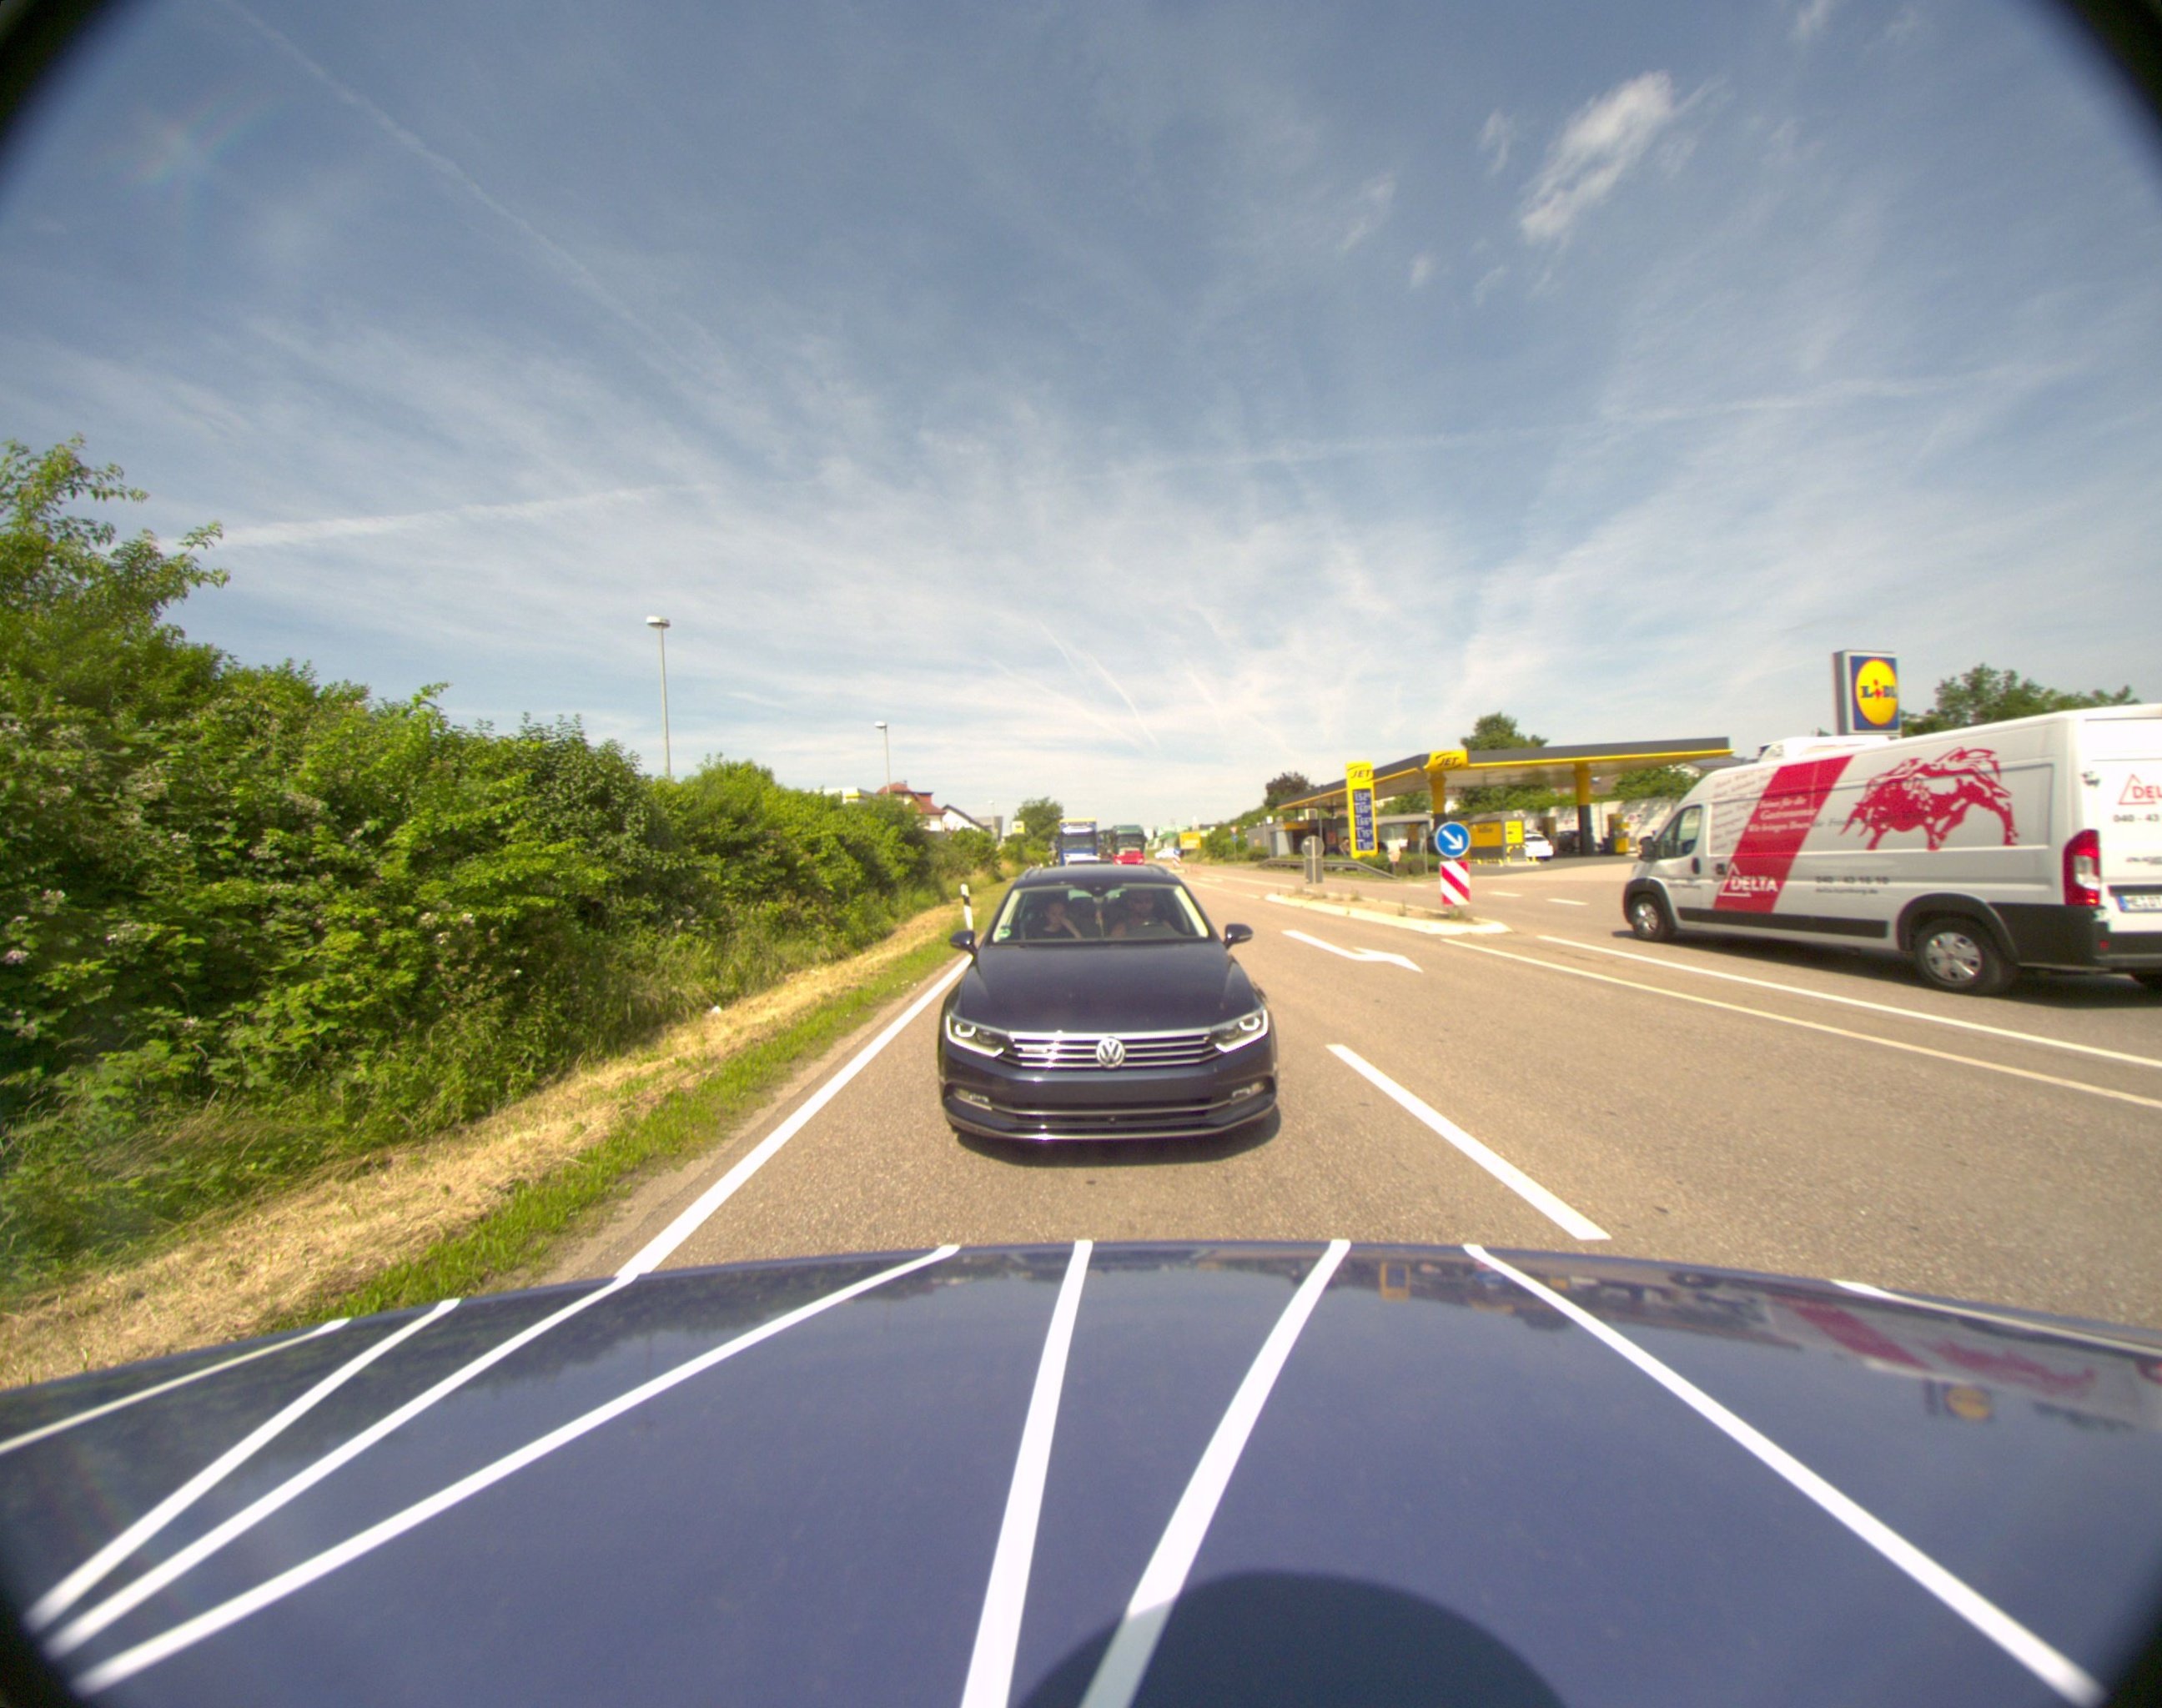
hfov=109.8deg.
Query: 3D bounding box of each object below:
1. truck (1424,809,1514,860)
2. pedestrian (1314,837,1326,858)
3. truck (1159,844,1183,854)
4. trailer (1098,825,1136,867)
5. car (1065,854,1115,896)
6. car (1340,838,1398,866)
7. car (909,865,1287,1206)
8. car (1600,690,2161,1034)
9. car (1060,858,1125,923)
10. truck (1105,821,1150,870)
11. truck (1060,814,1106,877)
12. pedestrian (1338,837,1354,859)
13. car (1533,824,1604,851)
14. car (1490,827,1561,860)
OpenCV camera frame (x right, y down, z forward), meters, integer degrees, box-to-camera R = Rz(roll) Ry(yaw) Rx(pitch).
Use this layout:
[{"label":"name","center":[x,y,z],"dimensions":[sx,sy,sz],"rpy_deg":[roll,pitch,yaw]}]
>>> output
[{"label":"truck","center":[23.840,-1.170,47.010],"dimensions":[2.250,2.906,6.282],"rpy_deg":[-2,1,-1]},{"label":"pedestrian","center":[21.103,-0.571,66.981],"dimensions":[0.798,1.827,0.640],"rpy_deg":[-3,1,1]},{"label":"truck","center":[19.279,-1.097,162.525],"dimensions":[4.771,1.997,2.000],"rpy_deg":[-3,1,1]},{"label":"trailer","center":[3.510,-0.775,76.845],"dimensions":[2.809,3.897,8.666],"rpy_deg":[-2,0,-3]},{"label":"car","center":[0.370,0.781,30.445],"dimensions":[1.814,1.466,3.974],"rpy_deg":[-2,0,1]},{"label":"car","center":[19.026,-0.120,50.396],"dimensions":[1.999,1.696,4.263],"rpy_deg":[-2,0,-3]},{"label":"car","center":[0.118,0.907,6.087],"dimensions":[1.756,1.493,4.925],"rpy_deg":[-2,0,1]},{"label":"car","center":[9.039,0.030,8.828],"dimensions":[2.122,2.639,5.987],"rpy_deg":[-2,0,3]},{"label":"car","center":[0.298,0.866,19.796],"dimensions":[1.471,1.451,3.797],"rpy_deg":[-2,0,1]},{"label":"truck","center":[3.979,-0.719,67.518],"dimensions":[2.675,3.897,10.046],"rpy_deg":[-2,0,-3]},{"label":"truck","center":[0.212,-0.575,56.064],"dimensions":[2.855,3.999,12.916],"rpy_deg":[-2,0,1]},{"label":"pedestrian","center":[17.677,-0.393,50.675],"dimensions":[0.914,1.419,0.494],"rpy_deg":[-2,1,4]},{"label":"car","center":[32.182,-1.076,50.316],"dimensions":[1.753,1.603,3.873],"rpy_deg":[-2,0,-10]},{"label":"car","center":[24.232,-0.560,41.618],"dimensions":[1.736,1.718,4.001],"rpy_deg":[-1,0,3]}]
